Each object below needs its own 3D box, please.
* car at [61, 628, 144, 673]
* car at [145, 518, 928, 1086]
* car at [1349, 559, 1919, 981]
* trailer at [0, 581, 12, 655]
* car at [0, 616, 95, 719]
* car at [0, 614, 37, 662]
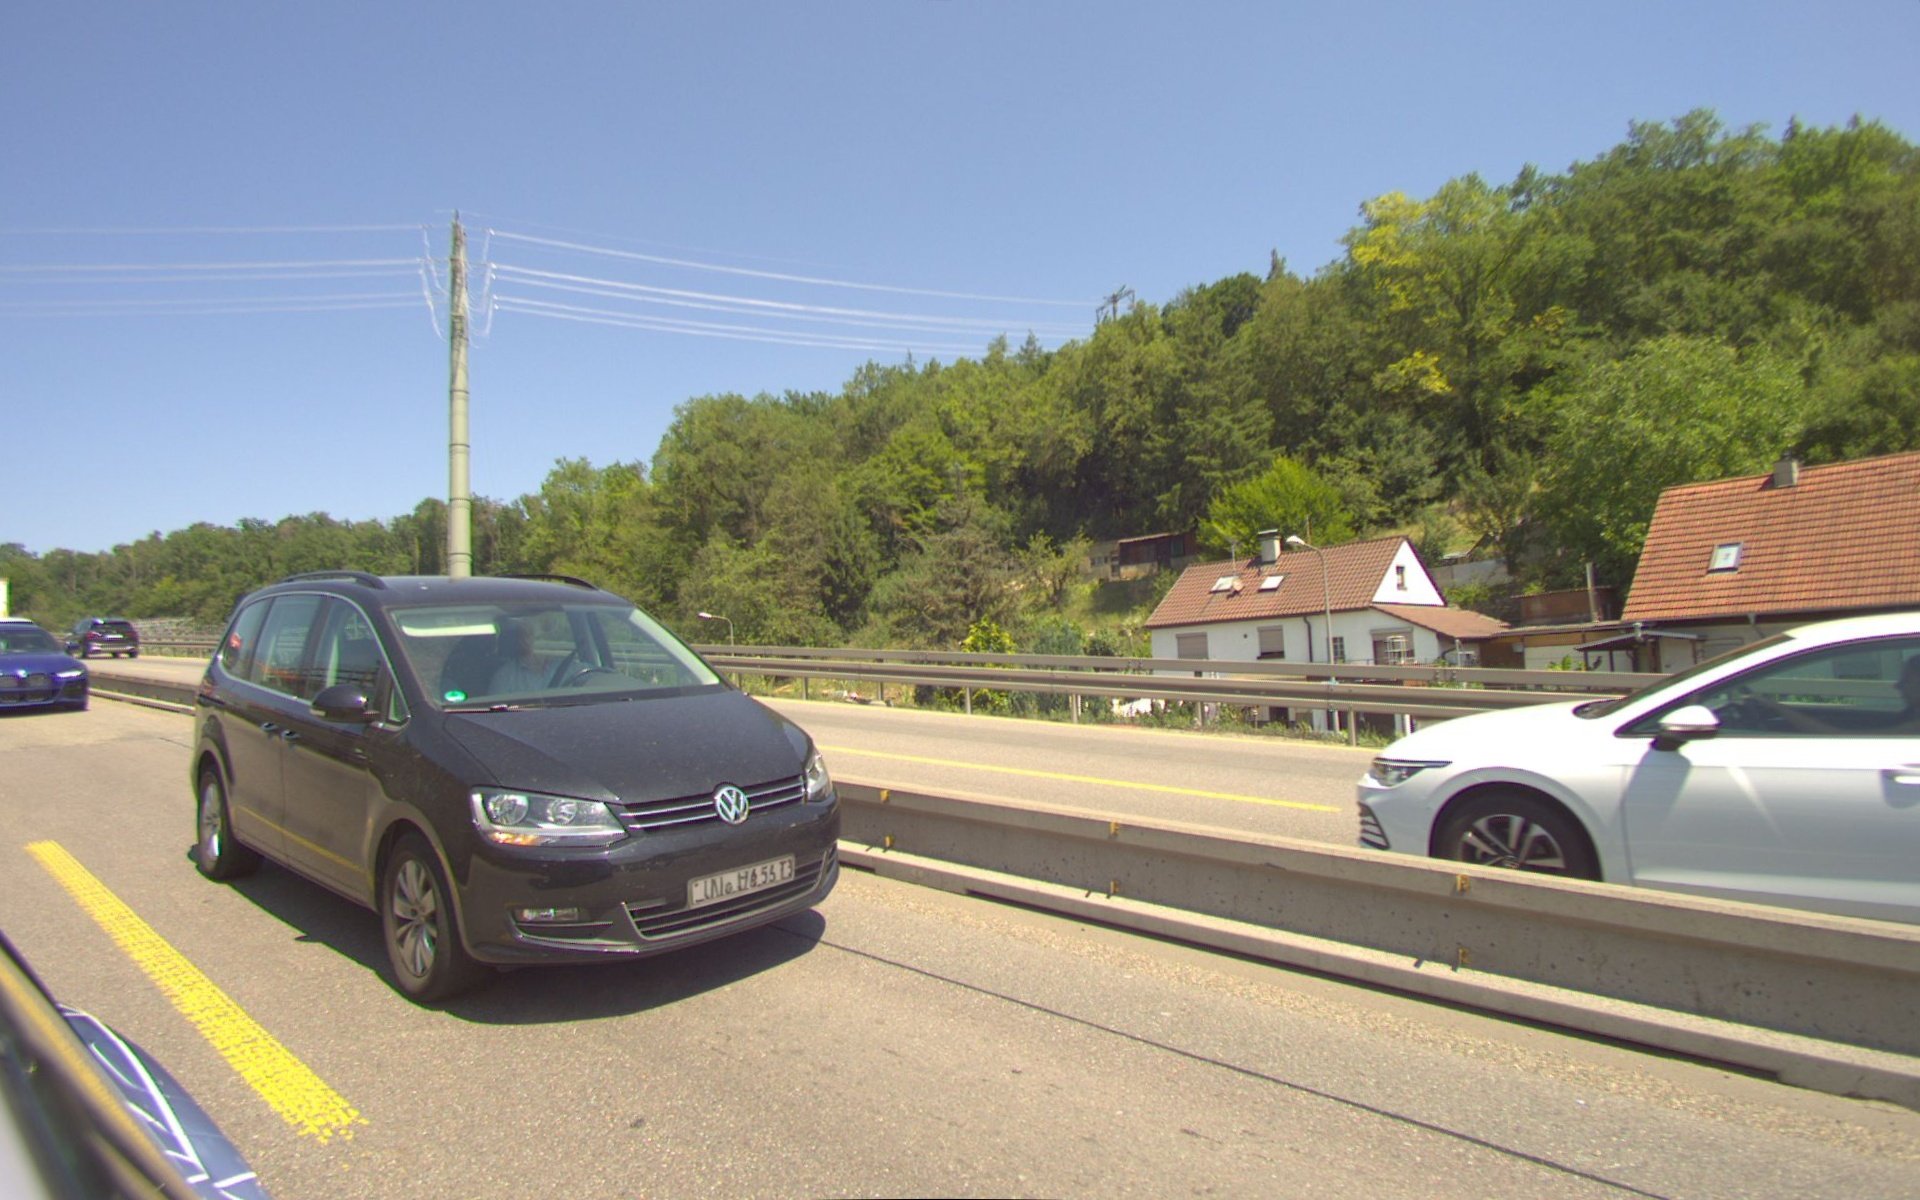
[{"bbox_3d":[-36.085,2.075,42.558,4.658,1.755,1.887,-1,-1,40],"label":"car"},{"bbox_3d":[-2.731,0.682,5.533,5.301,1.719,1.837,-2,-2,42],"label":"car"},{"bbox_3d":[4.074,0.627,4.320,4.187,1.547,1.654,-2,-2,40],"label":"car"},{"bbox_3d":[-58.967,1.106,59.937,9.007,4.197,2.974,-1,-1,39],"label":"trailer"},{"bbox_3d":[-16.475,1.100,17.224,4.781,1.567,1.872,-2,-2,40],"label":"car"},{"bbox_3d":[-36.344,1.382,38.064,4.382,1.699,1.733,0,0,39],"label":"car"}]
